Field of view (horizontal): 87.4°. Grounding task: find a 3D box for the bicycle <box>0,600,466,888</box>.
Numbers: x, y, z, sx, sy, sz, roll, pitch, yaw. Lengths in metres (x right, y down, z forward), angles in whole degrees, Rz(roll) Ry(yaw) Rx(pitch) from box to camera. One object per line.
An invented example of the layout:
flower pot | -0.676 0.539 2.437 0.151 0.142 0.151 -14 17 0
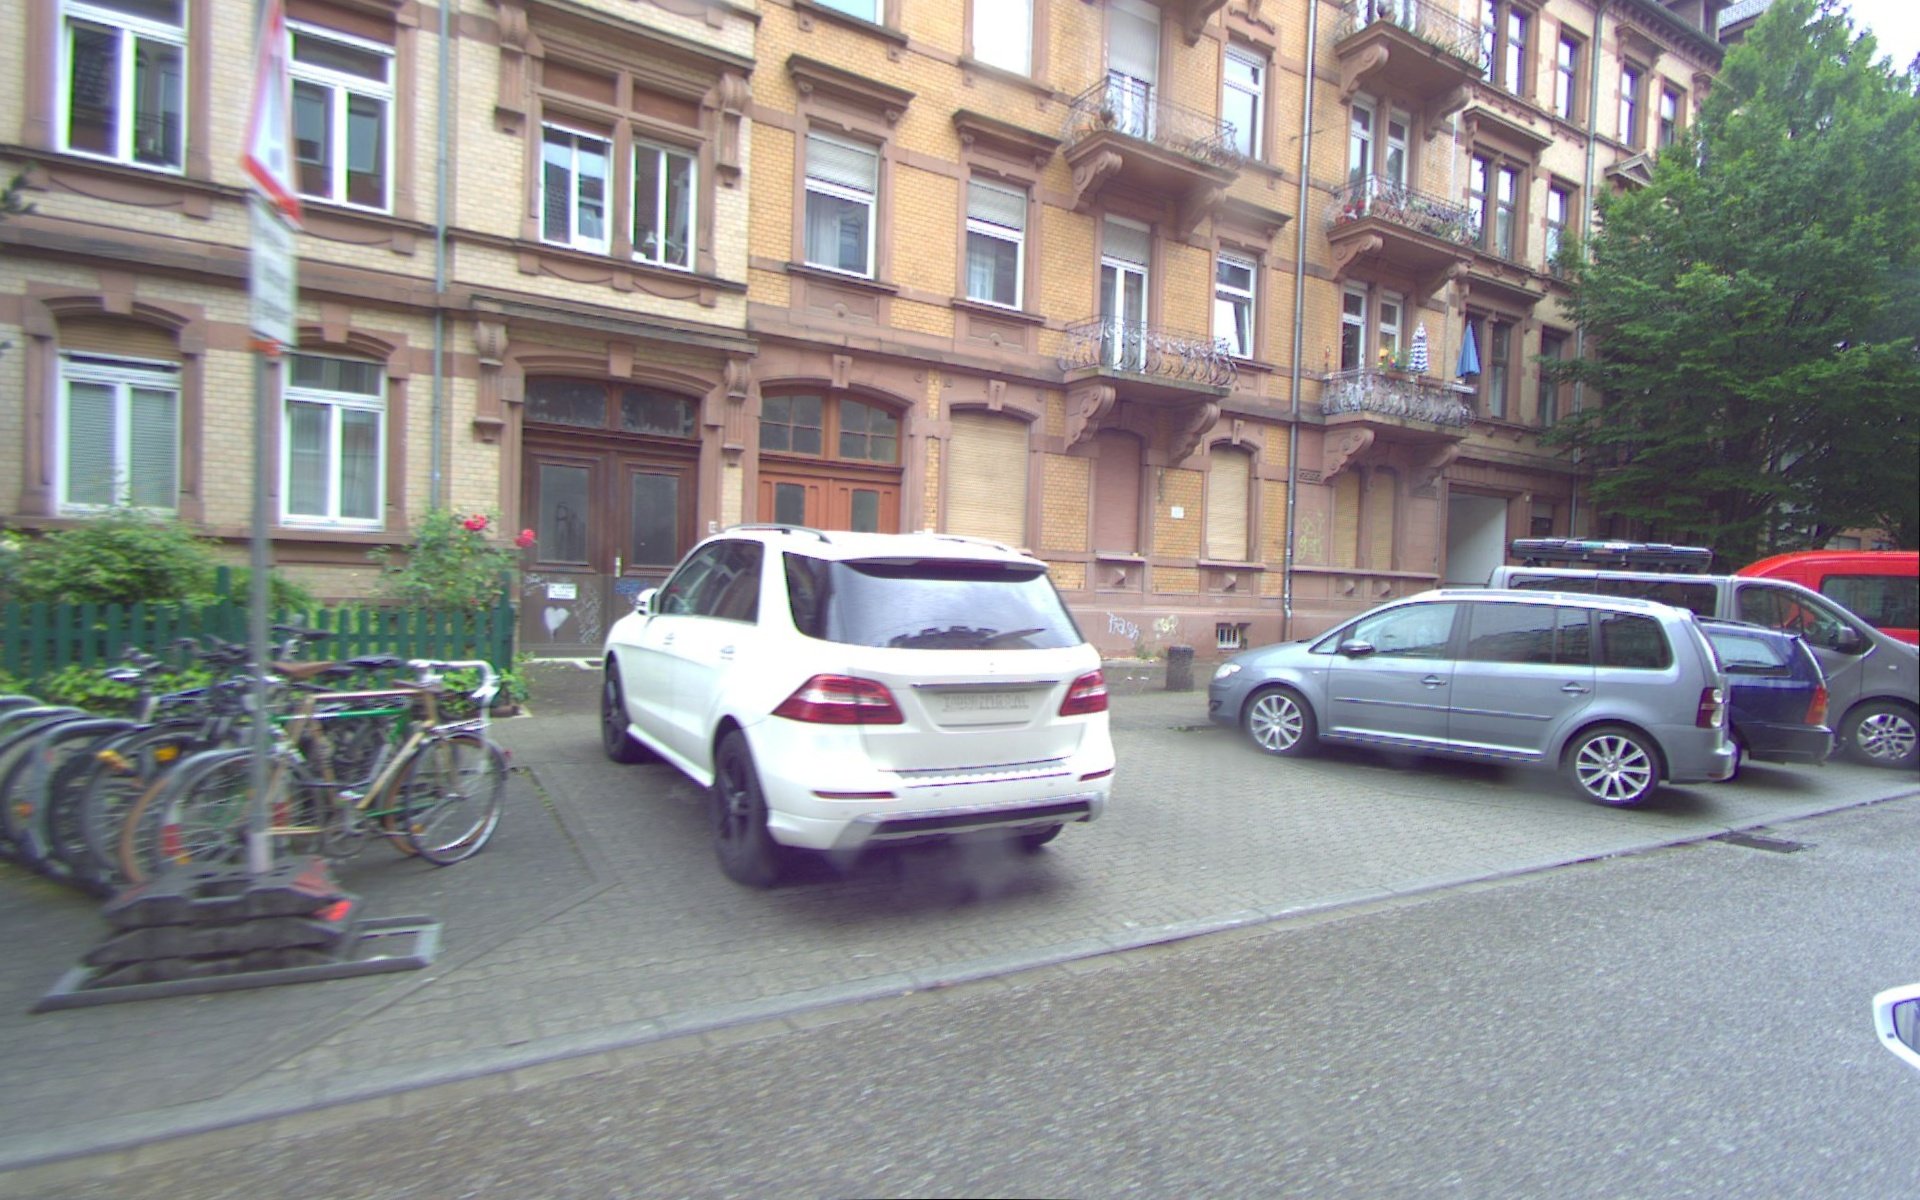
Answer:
bicycle | -3.666 0.608 5.227 0.474 1.190 2.041 3 2 29

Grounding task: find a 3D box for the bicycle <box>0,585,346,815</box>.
bicycle | -4.816 0.520 5.971 0.400 1.190 2.041 3 2 29

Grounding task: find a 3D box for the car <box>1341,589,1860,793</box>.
car | 6.560 0.776 10.706 4.288 1.525 1.748 5 3 38

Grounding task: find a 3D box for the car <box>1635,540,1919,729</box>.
car | 13.498 0.474 15.011 5.477 2.575 2.223 3 2 33

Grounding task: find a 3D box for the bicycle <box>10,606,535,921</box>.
bicycle | -3.209 0.646 4.983 0.534 1.199 2.125 3 2 29

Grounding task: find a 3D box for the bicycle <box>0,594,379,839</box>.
bicycle | -4.477 0.573 5.766 0.400 1.190 2.041 3 2 29

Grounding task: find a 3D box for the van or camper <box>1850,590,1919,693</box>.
van or camper | 21.496 0.942 20.277 4.605 1.979 2.337 4 3 18

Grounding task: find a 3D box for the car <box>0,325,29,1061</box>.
car | -5.330 0.151 3.644 5.167 2.106 1.864 3 2 36

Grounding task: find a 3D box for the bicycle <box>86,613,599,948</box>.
bicycle | -2.712 0.679 4.718 0.534 1.190 2.041 3 2 29

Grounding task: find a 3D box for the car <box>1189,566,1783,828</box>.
car | 4.588 0.657 9.279 4.370 1.652 1.839 5 4 34

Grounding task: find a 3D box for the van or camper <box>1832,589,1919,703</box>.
van or camper | 18.866 0.907 18.100 4.366 2.002 1.779 3 2 27

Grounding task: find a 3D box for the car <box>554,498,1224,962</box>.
car | -0.908 0.384 6.504 2.516 1.809 4.555 1 3 -31

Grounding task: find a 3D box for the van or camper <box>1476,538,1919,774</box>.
van or camper | 9.157 0.521 12.092 4.941 2.381 2.338 3 2 34

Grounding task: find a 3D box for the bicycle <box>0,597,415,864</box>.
bicycle | -4.130 0.594 5.488 0.534 1.190 2.041 3 2 29
